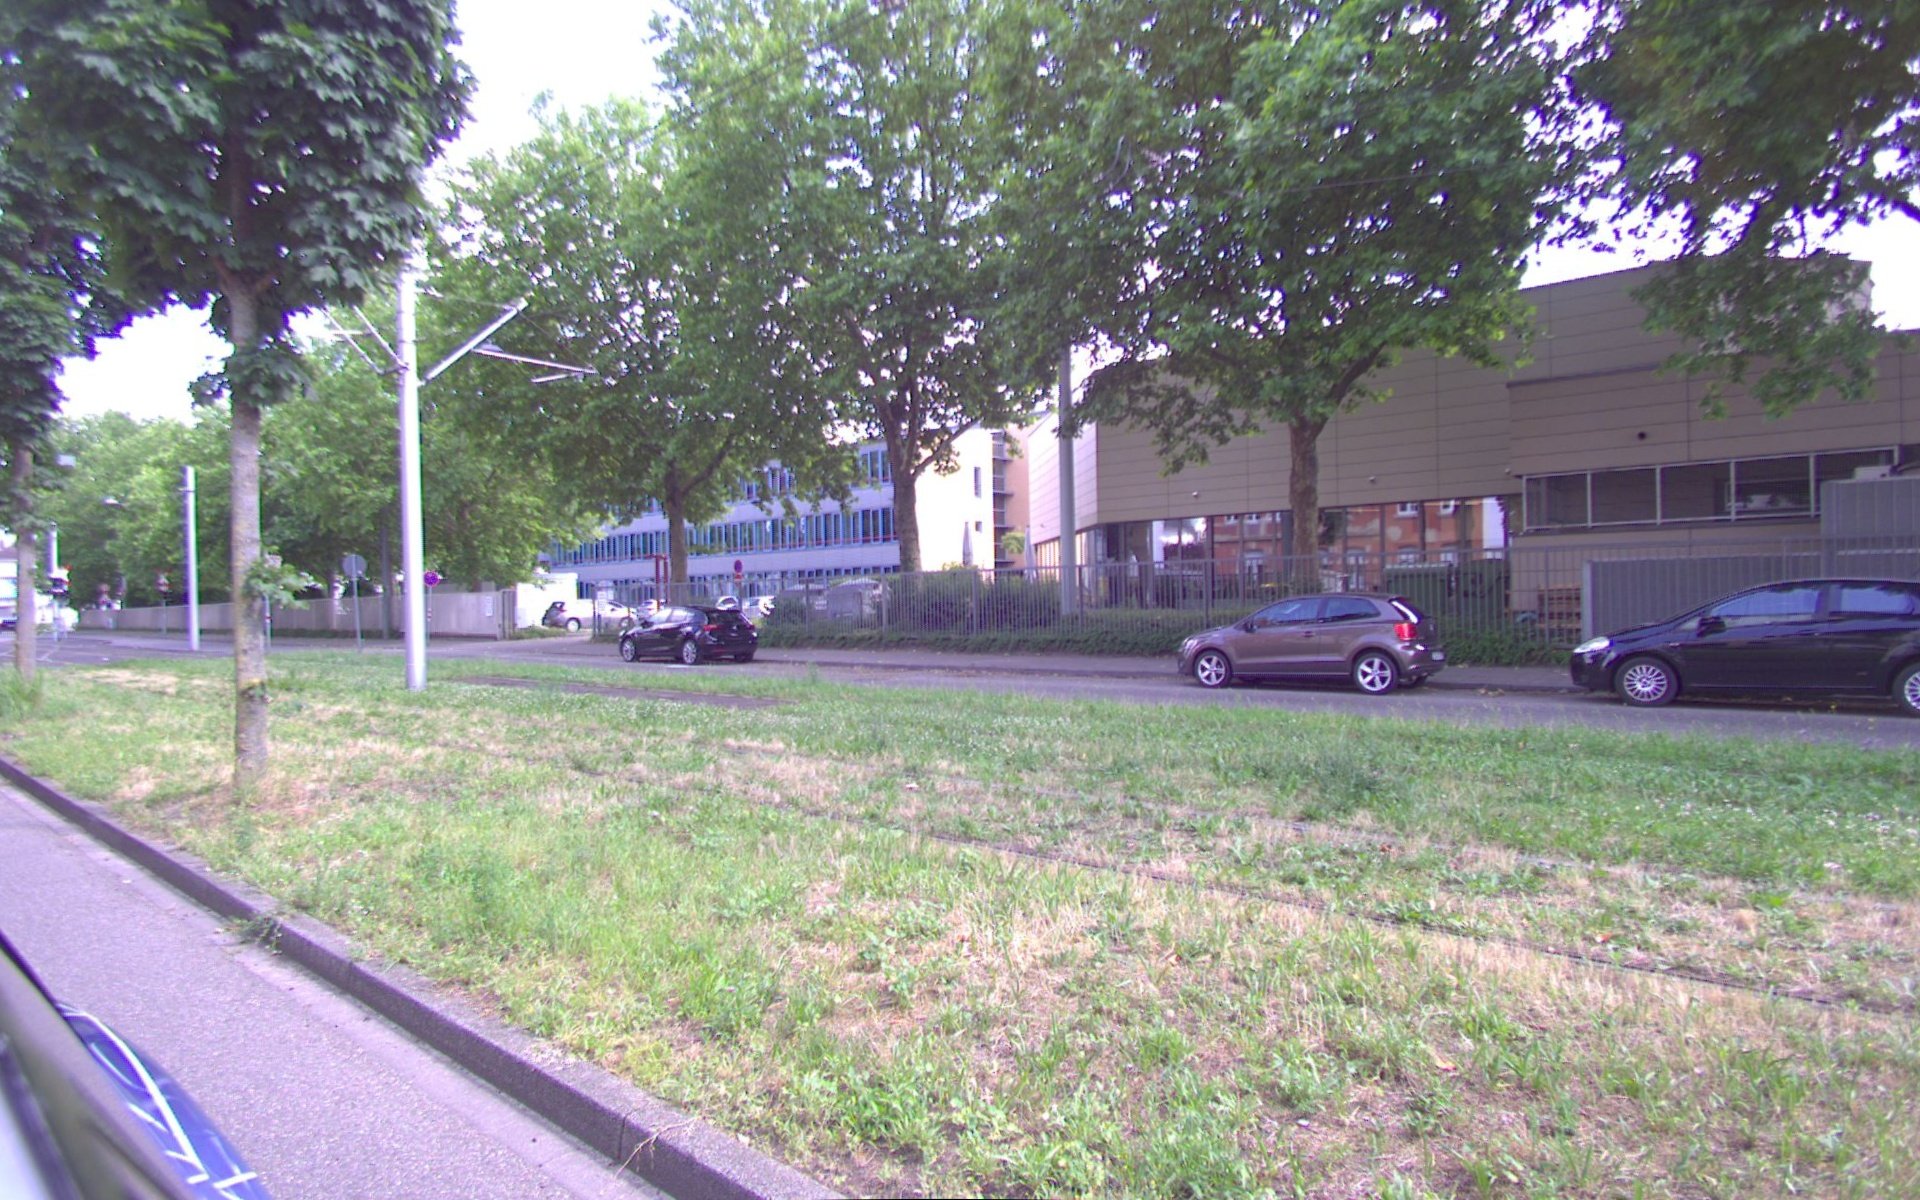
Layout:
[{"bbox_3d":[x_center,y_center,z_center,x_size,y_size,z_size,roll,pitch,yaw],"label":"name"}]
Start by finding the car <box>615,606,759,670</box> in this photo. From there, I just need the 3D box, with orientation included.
[{"bbox_3d":[-6.918,0.922,25.452,3.999,1.475,1.580,-1,0,42],"label":"car"}]

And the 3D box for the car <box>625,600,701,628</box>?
[{"bbox_3d":[-17.707,0.806,60.533,1.998,1.630,3.948,-1,-1,39],"label":"car"}]

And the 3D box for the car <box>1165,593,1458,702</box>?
[{"bbox_3d":[5.223,0.665,15.335,3.899,1.436,1.538,-1,0,40],"label":"car"}]

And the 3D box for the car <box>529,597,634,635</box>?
[{"bbox_3d":[-16.820,0.694,45.075,1.998,1.630,3.948,-1,-1,39],"label":"car"}]

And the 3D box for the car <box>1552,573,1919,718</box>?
[{"bbox_3d":[9.370,0.467,11.756,4.000,1.464,1.783,-1,0,43],"label":"car"}]

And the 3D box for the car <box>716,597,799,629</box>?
[{"bbox_3d":[-10.648,0.669,53.414,1.998,1.630,3.948,-1,-1,39],"label":"car"}]
